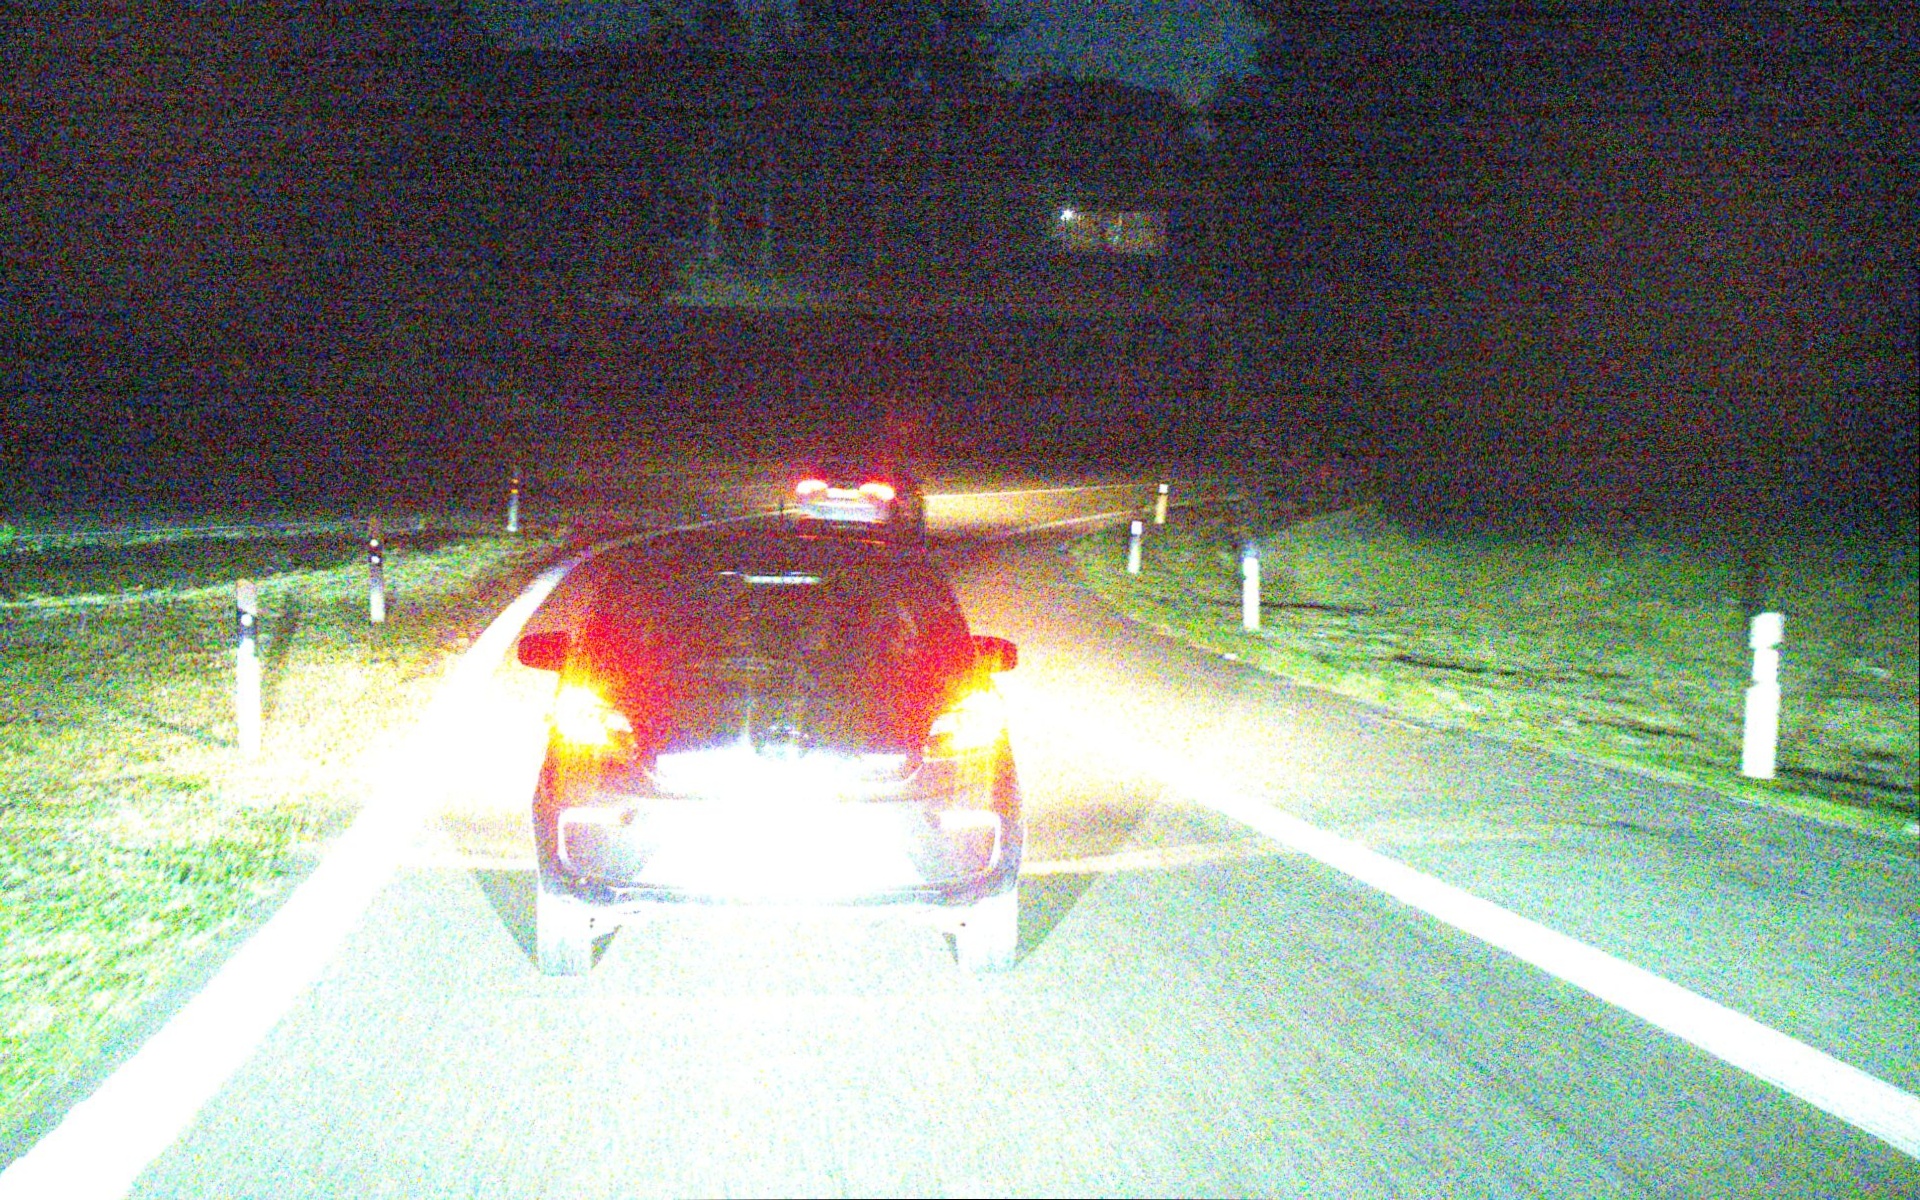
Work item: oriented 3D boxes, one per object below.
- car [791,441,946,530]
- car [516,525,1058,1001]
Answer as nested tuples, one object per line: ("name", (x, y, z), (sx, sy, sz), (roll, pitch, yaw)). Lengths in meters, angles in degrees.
("car", (-1.614, -2.066, 62.377), (1.952, 1.532, 4.239), (0, 2, 11))
("car", (-0.567, 0.469, 12.798), (1.691, 1.472, 4.000), (0, 1, -1))
